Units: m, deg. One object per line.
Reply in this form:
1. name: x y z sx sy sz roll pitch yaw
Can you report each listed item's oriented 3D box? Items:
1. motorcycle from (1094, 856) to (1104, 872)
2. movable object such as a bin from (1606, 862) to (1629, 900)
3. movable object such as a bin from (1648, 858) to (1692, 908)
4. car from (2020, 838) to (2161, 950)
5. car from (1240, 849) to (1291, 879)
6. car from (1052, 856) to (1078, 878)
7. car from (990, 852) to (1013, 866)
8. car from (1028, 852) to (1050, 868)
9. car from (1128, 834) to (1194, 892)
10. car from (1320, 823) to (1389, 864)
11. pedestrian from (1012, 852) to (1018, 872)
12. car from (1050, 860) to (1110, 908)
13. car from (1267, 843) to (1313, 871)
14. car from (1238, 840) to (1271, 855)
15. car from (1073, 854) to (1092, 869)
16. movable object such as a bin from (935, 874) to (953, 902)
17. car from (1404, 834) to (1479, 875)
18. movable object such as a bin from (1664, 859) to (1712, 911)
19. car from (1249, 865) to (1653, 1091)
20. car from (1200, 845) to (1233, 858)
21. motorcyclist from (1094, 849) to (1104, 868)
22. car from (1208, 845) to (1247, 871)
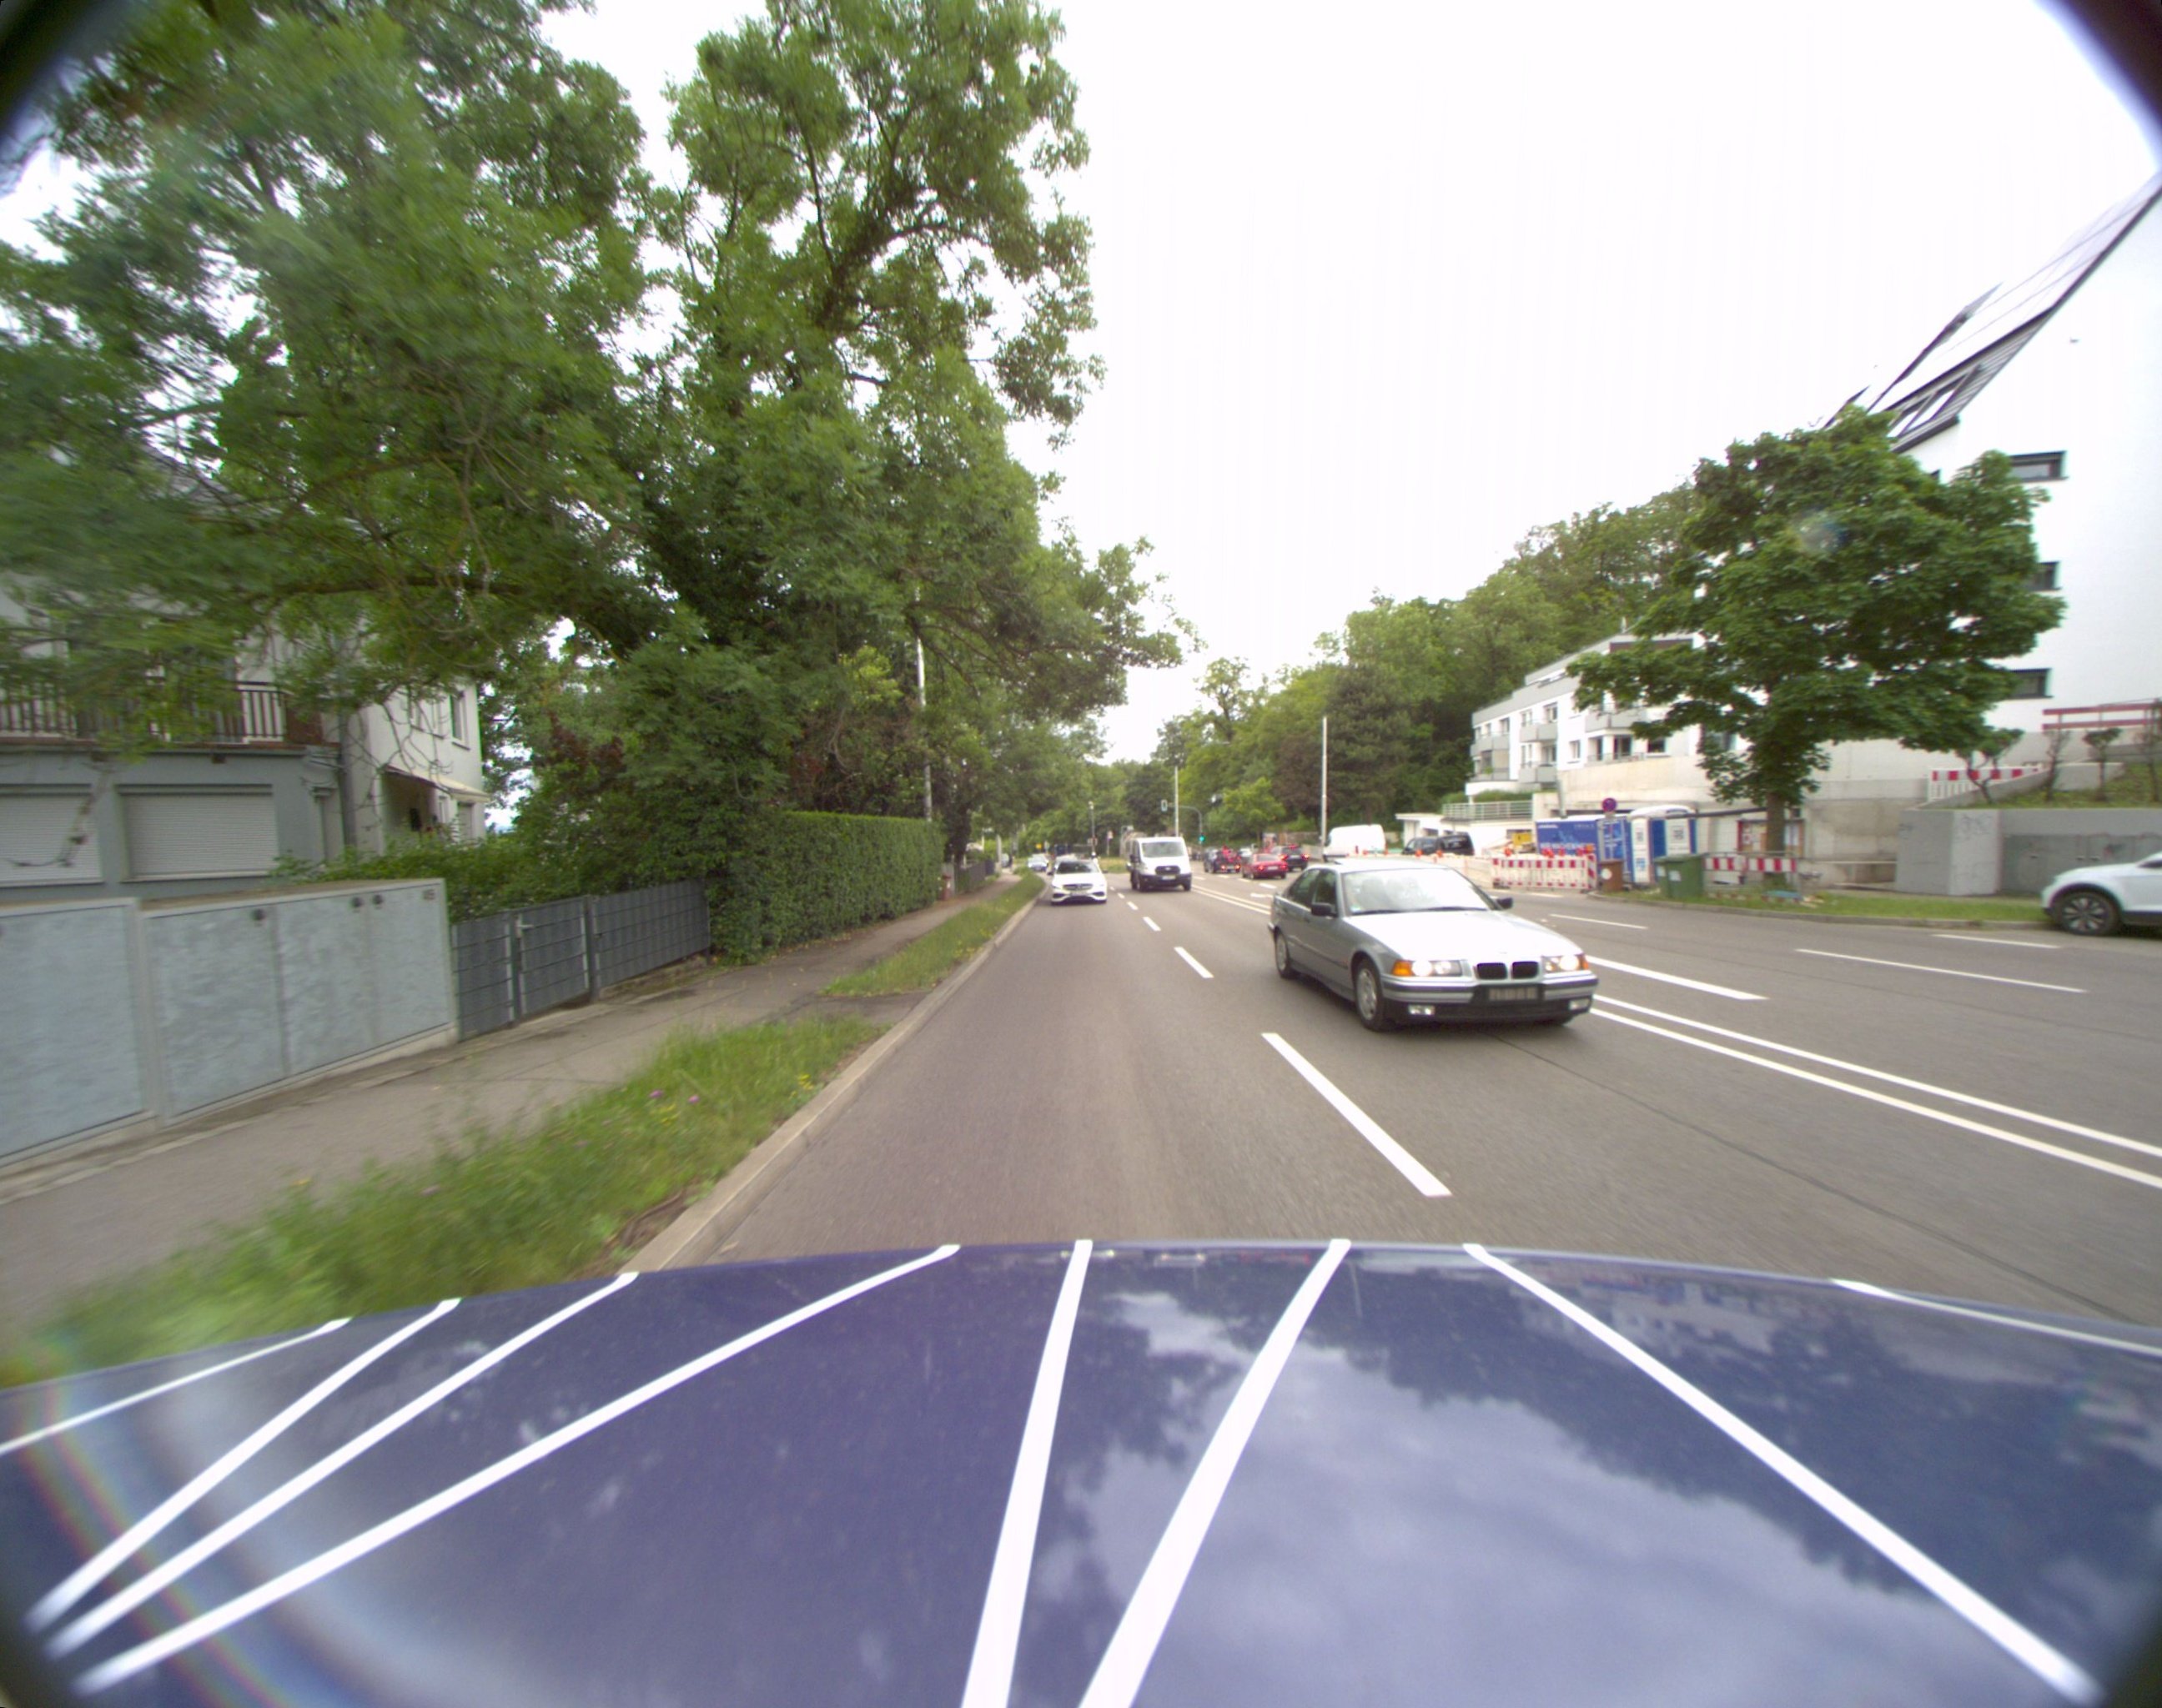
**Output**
1. motorcycle: 1.398 0.763 59.264 0.574 1.120 2.295 -3 1 -3
2. movable object such as a bin: 14.065 0.708 19.920 0.327 0.969 0.425 -2 1 7
3. movable object such as a bin: 13.658 0.663 17.629 0.586 1.131 0.586 -2 1 7
4. car: 15.288 0.537 9.603 1.672 1.495 4.238 0 1 2
5. car: 9.480 0.482 39.295 1.752 1.373 4.322 -2 1 3
6. car: -1.199 0.911 55.044 1.734 1.403 3.998 -2 1 -3
7. car: -10.643 0.656 101.976 2.002 1.647 4.428 -2 1 -20
8. car: -4.161 0.583 74.646 1.676 1.523 3.996 -2 1 -10
9. car: 3.236 0.324 31.933 1.999 2.161 6.267 -1 0 -1
10. car: 18.377 -0.706 51.451 1.999 2.512 6.532 -2 1 -2
11. pedestrian: -6.236 0.758 71.978 0.513 1.824 0.494 -2 1 -1
12. car: -0.096 0.942 25.452 1.821 1.339 3.999 -2 1 -2
13. car: 12.755 0.141 46.595 1.779 1.588 4.226 -2 1 3
14. car: 18.149 -0.675 79.432 3.301 1.434 1.579 -2 1 -41
15. car: 0.189 0.990 104.143 2.000 1.880 3.997 -1 1 -8
16. movable object such as a bin: -4.614 1.147 25.606 0.474 0.906 0.454 -2 1 1
17. car: 17.040 0.006 36.127 1.810 1.741 4.251 -2 1 5
18. movable object such as a bin: 13.580 0.682 17.008 0.589 1.131 0.645 -2 1 7
19. car: 3.027 0.870 7.452 1.639 1.375 4.619 -2 1 -1
20. car: 13.931 -0.277 78.298 1.569 1.277 3.287 -2 1 -30
21. motorcyclist: 1.374 0.357 59.408 0.619 1.463 0.930 -3 1 -3
22. car: 9.444 0.234 49.230 1.779 1.588 4.664 -2 1 3
